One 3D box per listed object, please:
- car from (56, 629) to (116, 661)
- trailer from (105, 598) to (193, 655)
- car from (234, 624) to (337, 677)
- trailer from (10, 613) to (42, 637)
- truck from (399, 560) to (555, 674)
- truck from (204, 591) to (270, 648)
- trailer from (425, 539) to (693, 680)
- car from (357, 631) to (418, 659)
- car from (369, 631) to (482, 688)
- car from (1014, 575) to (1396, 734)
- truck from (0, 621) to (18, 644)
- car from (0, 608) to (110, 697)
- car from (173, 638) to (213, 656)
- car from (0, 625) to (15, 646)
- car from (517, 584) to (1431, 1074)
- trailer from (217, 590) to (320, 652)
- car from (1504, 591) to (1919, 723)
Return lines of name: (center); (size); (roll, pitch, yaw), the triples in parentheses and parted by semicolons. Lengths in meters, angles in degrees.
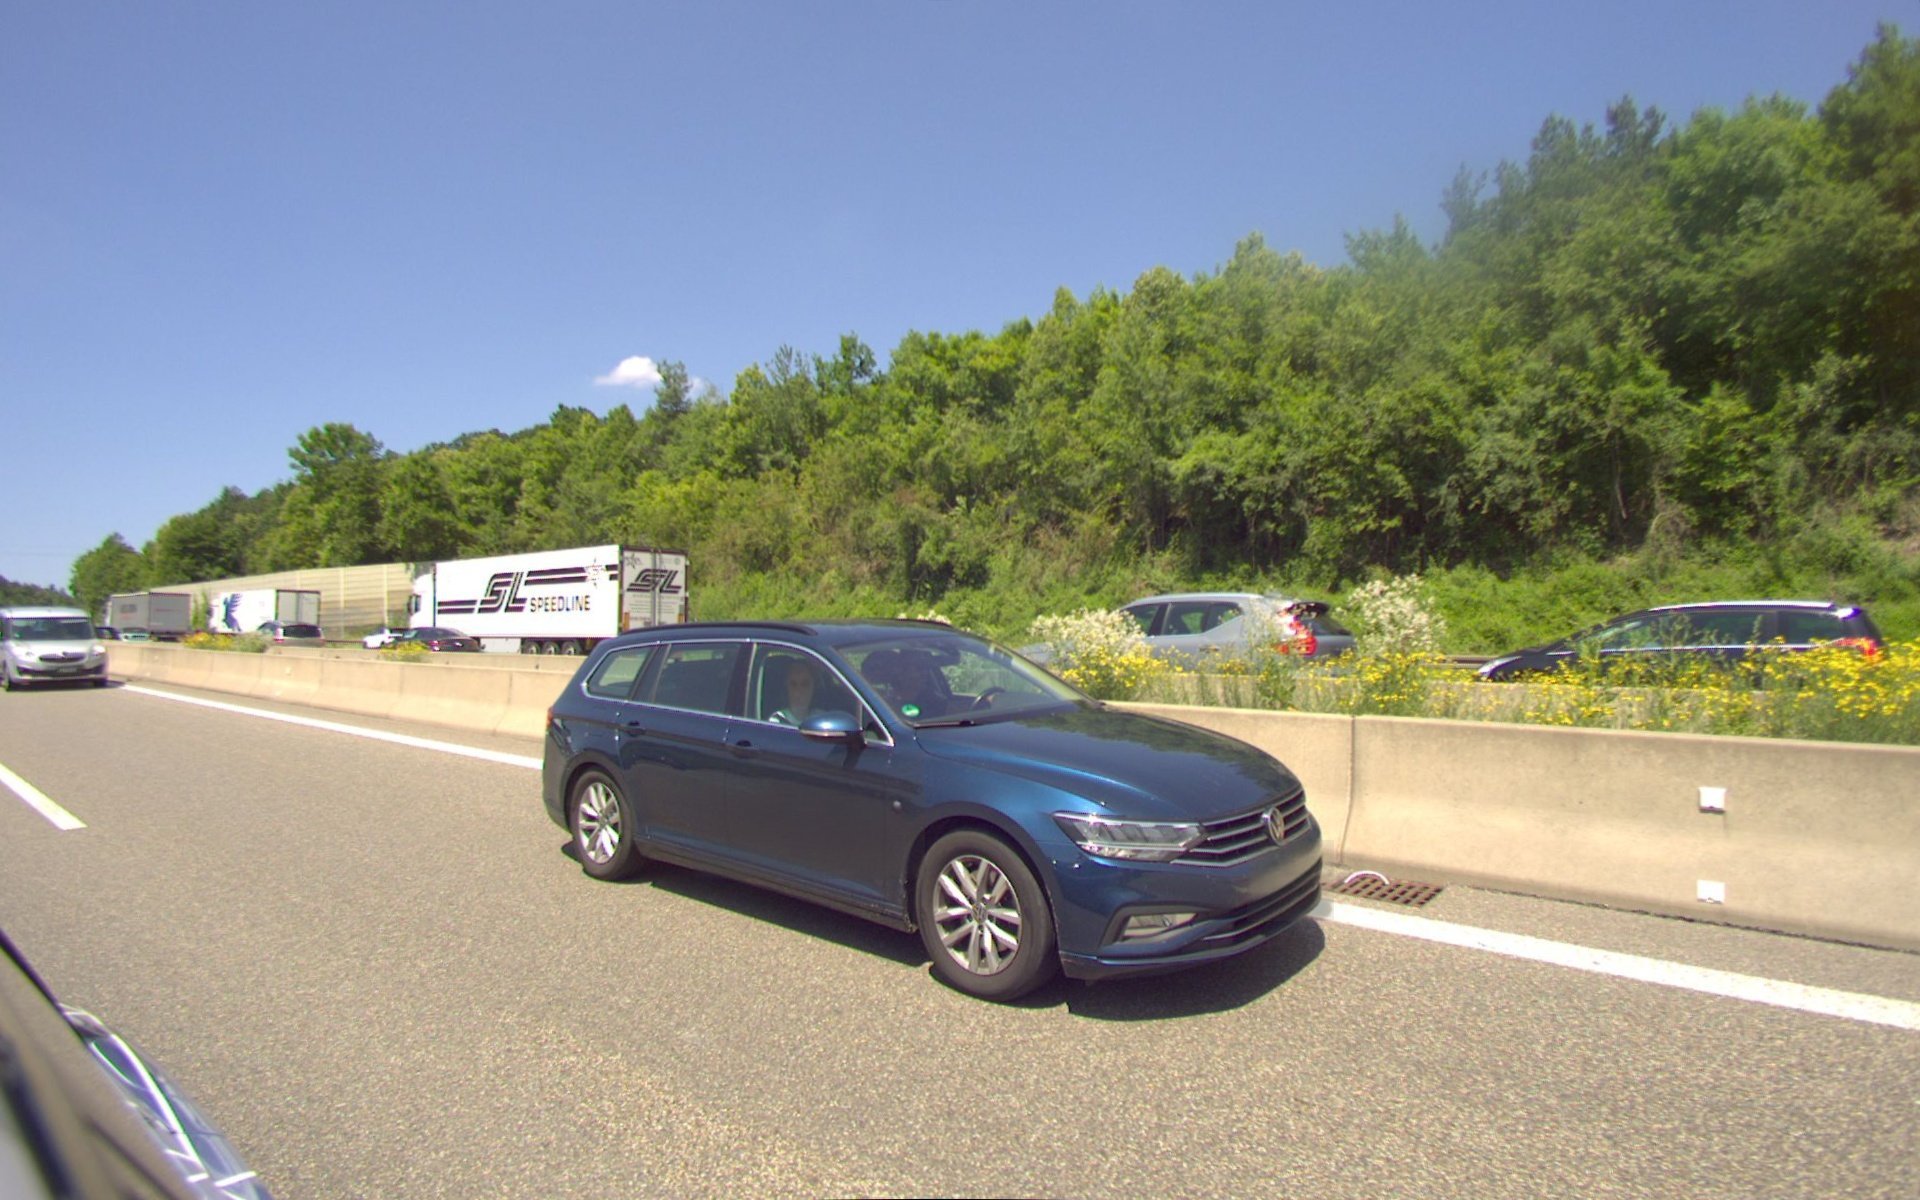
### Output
car: (-48.598, 2.460, 56.240); (4.534, 1.652, 1.886); (-1, -2, 41)
trailer: (-64.330, 2.075, 80.031); (14.732, 4.197, 2.805); (-1, -3, 41)
car: (-24.740, 1.809, 37.062); (4.785, 1.769, 1.864); (-1, -3, 41)
trailer: (-157.628, 4.140, 170.691); (13.826, 3.938, 2.782); (-1, -3, 43)
truck: (-19.569, 0.696, 40.754); (7.595, 4.197, 2.774); (-1, -2, 41)
truck: (-54.004, 1.462, 75.582); (5.081, 4.078, 2.778); (-1, -3, 40)
trailer: (-15.093, 0.399, 36.952); (14.026, 4.371, 2.774); (-1, -2, 40)
car: (-32.257, 2.506, 56.974); (4.187, 1.478, 1.649); (-1, -2, 41)
car: (-18.368, 1.990, 34.684); (4.728, 1.790, 1.766); (-1, -3, 41)
car: (2.674, 0.585, 11.623); (3.997, 1.530, 1.547); (-2, -3, 41)
truck: (-120.198, 4.001, 126.339); (11.623, 2.709, 2.501); (-1, -3, 41)
car: (-20.962, 1.142, 23.140); (3.998, 1.858, 1.757); (-1, -2, 41)
car: (-62.243, 3.763, 82.100); (4.499, 1.381, 1.744); (-1, -2, 41)
car: (-84.838, 3.143, 89.056); (3.996, 1.807, 1.974); (-2, -1, 40)
car: (-0.338, 0.744, 5.209); (4.728, 1.438, 1.714); (-1, -3, 41)
trailer: (-48.606, 1.469, 70.912); (12.619, 4.078, 2.778); (-1, -3, 41)
car: (9.109, 0.659, 12.469); (3.997, 1.377, 1.547); (-2, -3, 41)
